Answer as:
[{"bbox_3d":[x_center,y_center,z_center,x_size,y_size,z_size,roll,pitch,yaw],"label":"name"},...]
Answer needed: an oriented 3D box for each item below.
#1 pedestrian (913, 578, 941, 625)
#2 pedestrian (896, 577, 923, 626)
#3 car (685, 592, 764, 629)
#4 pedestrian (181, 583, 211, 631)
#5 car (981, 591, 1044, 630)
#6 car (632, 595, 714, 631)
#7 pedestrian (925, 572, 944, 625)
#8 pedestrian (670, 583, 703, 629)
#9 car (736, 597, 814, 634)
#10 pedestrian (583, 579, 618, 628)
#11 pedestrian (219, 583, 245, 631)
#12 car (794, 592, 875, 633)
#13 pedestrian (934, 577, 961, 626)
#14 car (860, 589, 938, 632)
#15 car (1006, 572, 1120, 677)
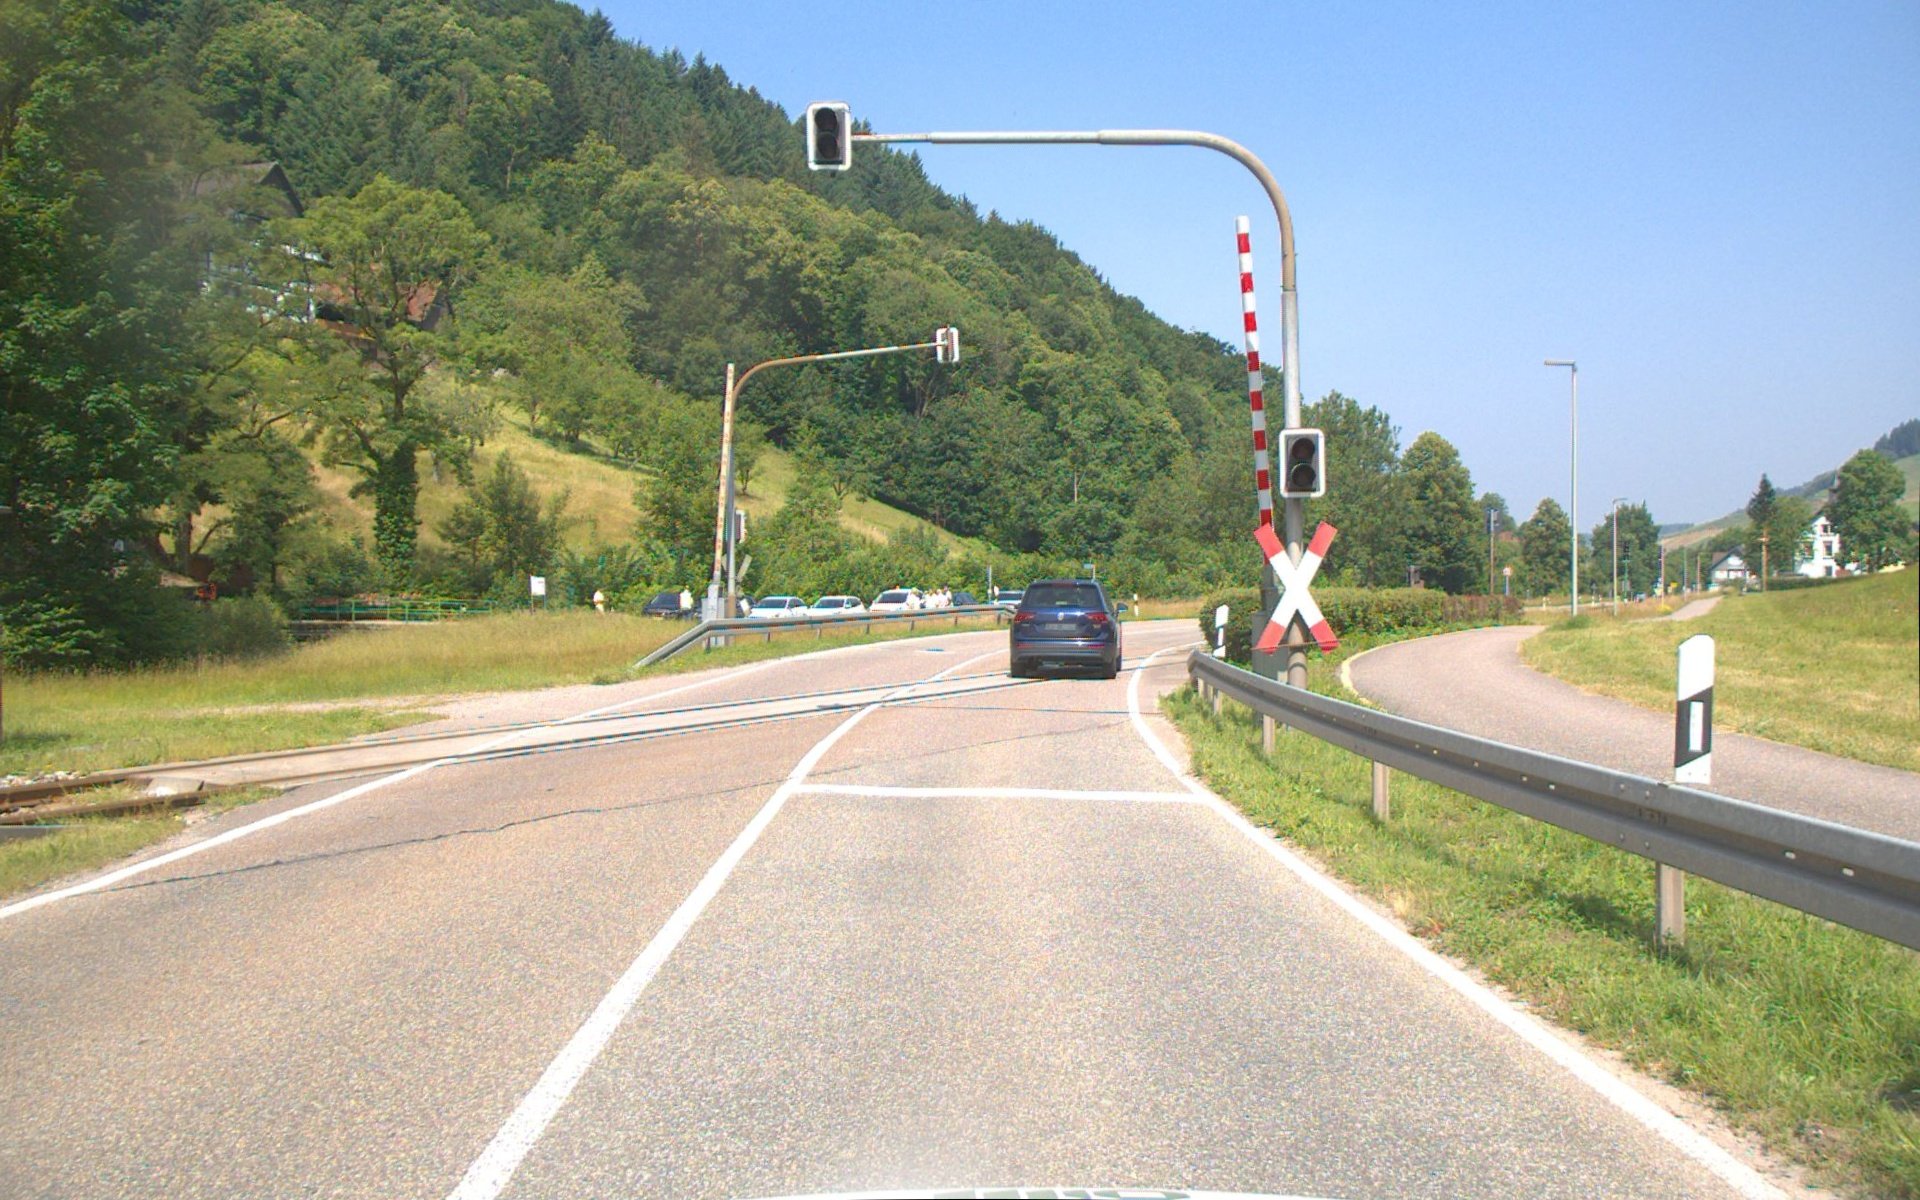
[{"bbox_3d":[-1.292,0.060,64.813,0.757,1.827,0.789,-2,-1,42],"label":"pedestrian"},{"bbox_3d":[-1.938,0.064,63.927,0.772,1.874,0.698,-1,0,26],"label":"pedestrian"},{"bbox_3d":[-10.367,0.449,73.235,1.951,1.527,4.525,1,0,13],"label":"car"},{"bbox_3d":[-32.945,0.298,71.331,0.684,2.049,0.933,-1,-1,16],"label":"pedestrian"},{"bbox_3d":[2.247,0.418,69.050,1.787,1.527,4.281,-2,0,13],"label":"car"},{"bbox_3d":[-12.747,0.568,73.787,1.951,1.527,4.525,-2,0,13],"label":"car"},{"bbox_3d":[-0.984,-0.057,64.021,0.646,1.989,0.533,-2,0,6],"label":"pedestrian"},{"bbox_3d":[-11.030,0.245,66.715,0.933,1.826,1.001,-2,0,11],"label":"pedestrian"},{"bbox_3d":[-8.057,0.638,72.308,1.951,1.527,4.525,-2,0,13],"label":"car"},{"bbox_3d":[-14.927,0.133,68.730,1.105,2.004,0.860,-1,0,31],"label":"pedestrian"},{"bbox_3d":[-31.898,0.309,72.451,0.920,2.049,0.693,-1,-1,-32],"label":"pedestrian"},{"bbox_3d":[-5.418,0.519,72.066,1.951,1.670,4.905,-2,0,15],"label":"car"},{"bbox_3d":[-0.487,0.060,64.469,0.764,1.891,0.639,-1,-1,-41],"label":"pedestrian"},{"bbox_3d":[-2.605,0.437,71.868,1.832,1.813,4.774,0,0,18],"label":"car"},{"bbox_3d":[1.840,0.393,28.866,1.813,1.678,4.142,1,0,5],"label":"car"}]
